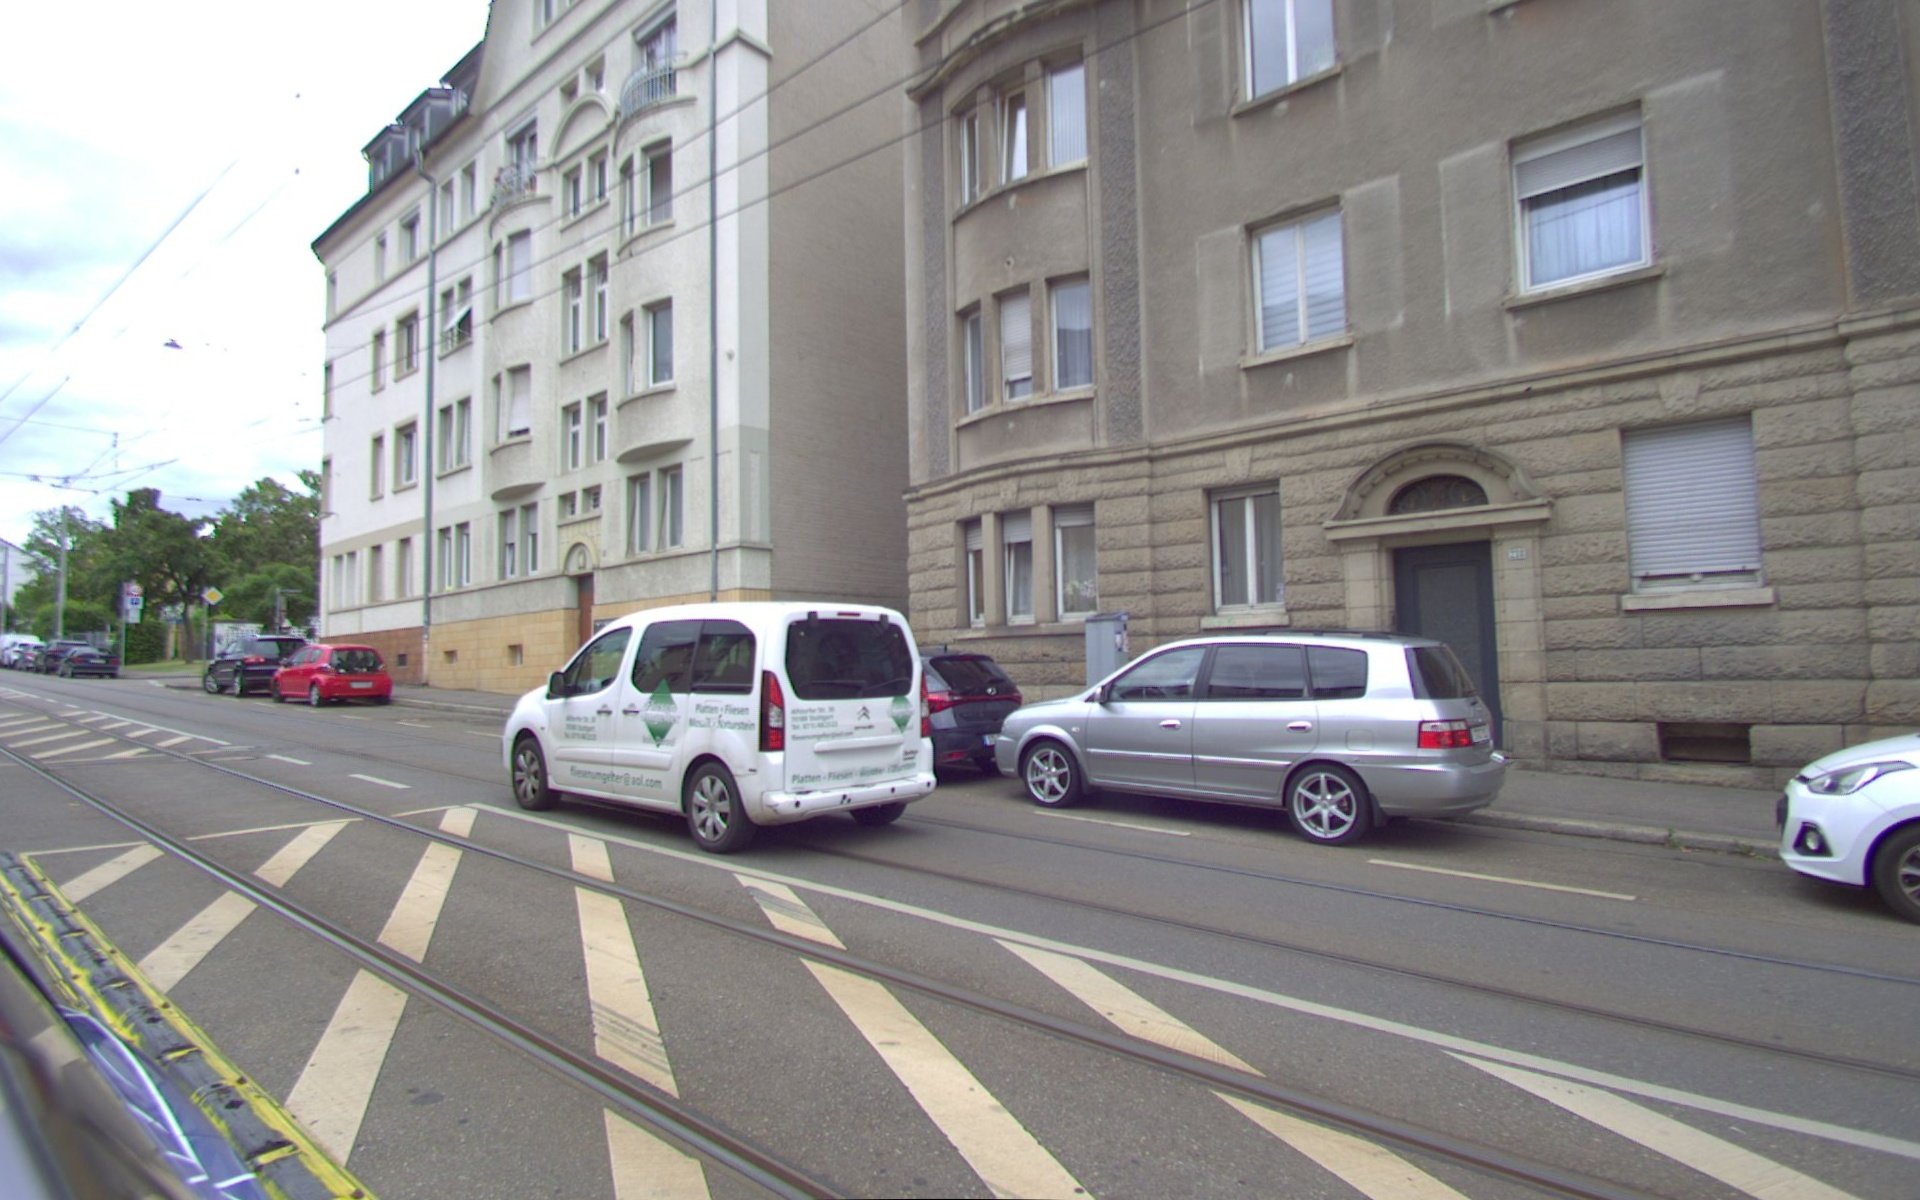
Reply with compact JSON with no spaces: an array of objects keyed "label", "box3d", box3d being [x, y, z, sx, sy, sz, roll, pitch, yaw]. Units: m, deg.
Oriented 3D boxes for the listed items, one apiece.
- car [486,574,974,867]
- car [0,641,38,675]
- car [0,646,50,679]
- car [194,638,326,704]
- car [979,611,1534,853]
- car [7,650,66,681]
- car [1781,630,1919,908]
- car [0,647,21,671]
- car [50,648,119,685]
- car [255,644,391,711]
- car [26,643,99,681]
[{"label":"car","box3d":[-2.090,0.845,8.491,4.216,1.833,1.900,-2,-3,42]},{"label":"car","box3d":[-56.854,3.427,60.411,4.731,1.927,1.949,-1,-4,40]},{"label":"car","box3d":[-52.571,3.470,56.500,4.629,1.699,1.949,-1,-4,40]},{"label":"car","box3d":[-19.416,1.919,28.005,4.398,1.658,1.848,-1,-4,40]},{"label":"car","box3d":[2.354,0.991,8.797,4.347,1.616,1.604,-3,-4,40]},{"label":"car","box3d":[-48.247,3.417,52.876,3.866,1.520,1.721,-1,-4,40]},{"label":"car","box3d":[6.605,0.914,5.160,3.683,1.474,1.603,-1,-4,42]},{"label":"car","box3d":[-60.955,3.699,63.940,4.514,1.398,1.821,-1,-4,40]},{"label":"car","box3d":[-38.528,2.912,44.525,4.153,1.489,1.604,-1,-4,40]},{"label":"car","box3d":[-15.568,1.843,24.692,3.740,1.474,1.605,-1,-4,38]},{"label":"car","box3d":[-43.428,2.984,48.961,4.440,1.699,1.949,-1,-4,40]}]
